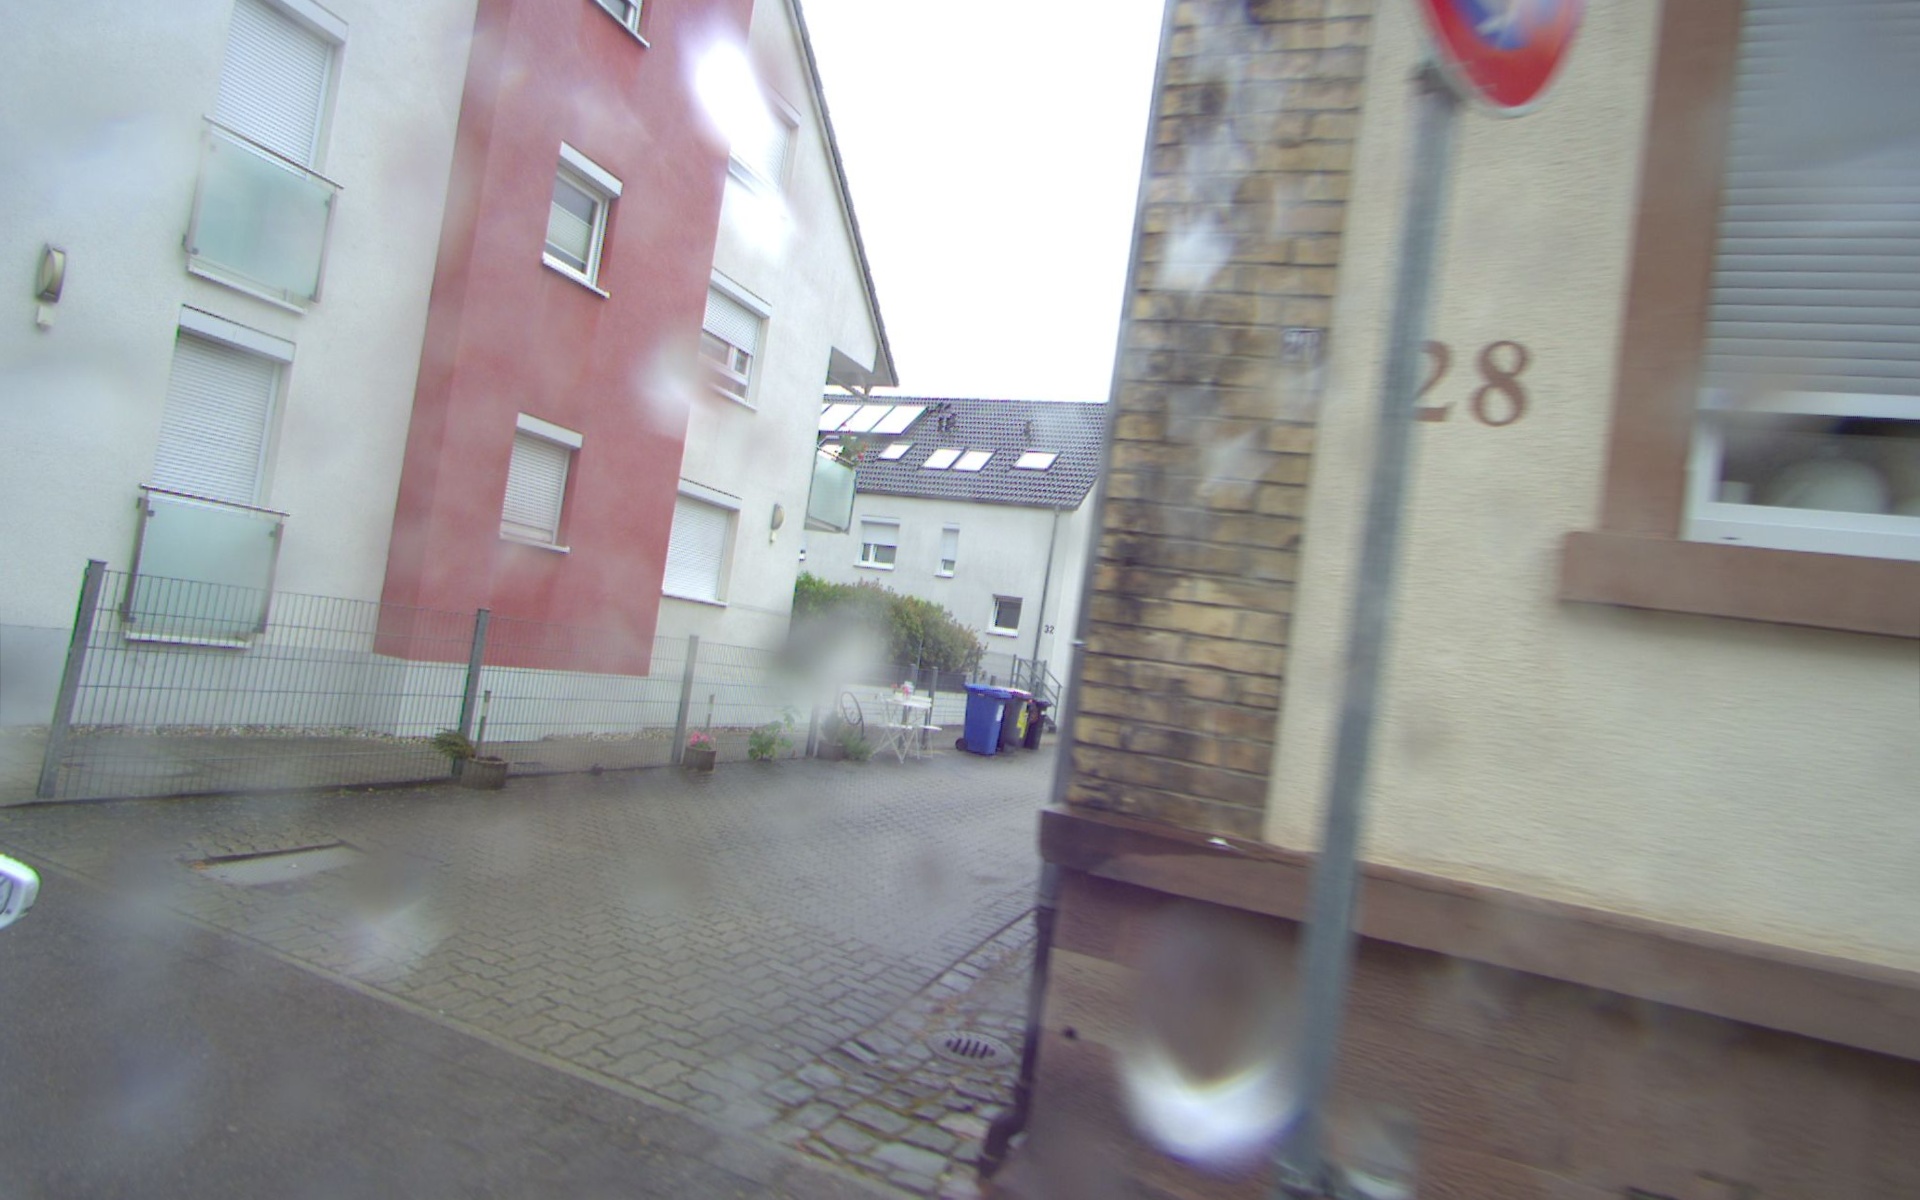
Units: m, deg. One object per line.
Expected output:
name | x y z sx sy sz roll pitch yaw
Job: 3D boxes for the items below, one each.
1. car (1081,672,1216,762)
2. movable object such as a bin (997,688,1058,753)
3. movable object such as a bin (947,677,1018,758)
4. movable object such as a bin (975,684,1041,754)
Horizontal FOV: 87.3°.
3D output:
car | 4.022 2.366 21.080 1.666 1.481 3.568 5 0 28
movable object such as a bin | 1.234 2.193 18.345 0.789 1.049 0.729 7 -4 23
movable object such as a bin | 0.364 1.880 16.095 0.789 1.146 0.729 7 -4 23
movable object such as a bin | 0.819 2.030 17.104 0.789 1.049 0.729 7 -4 23
